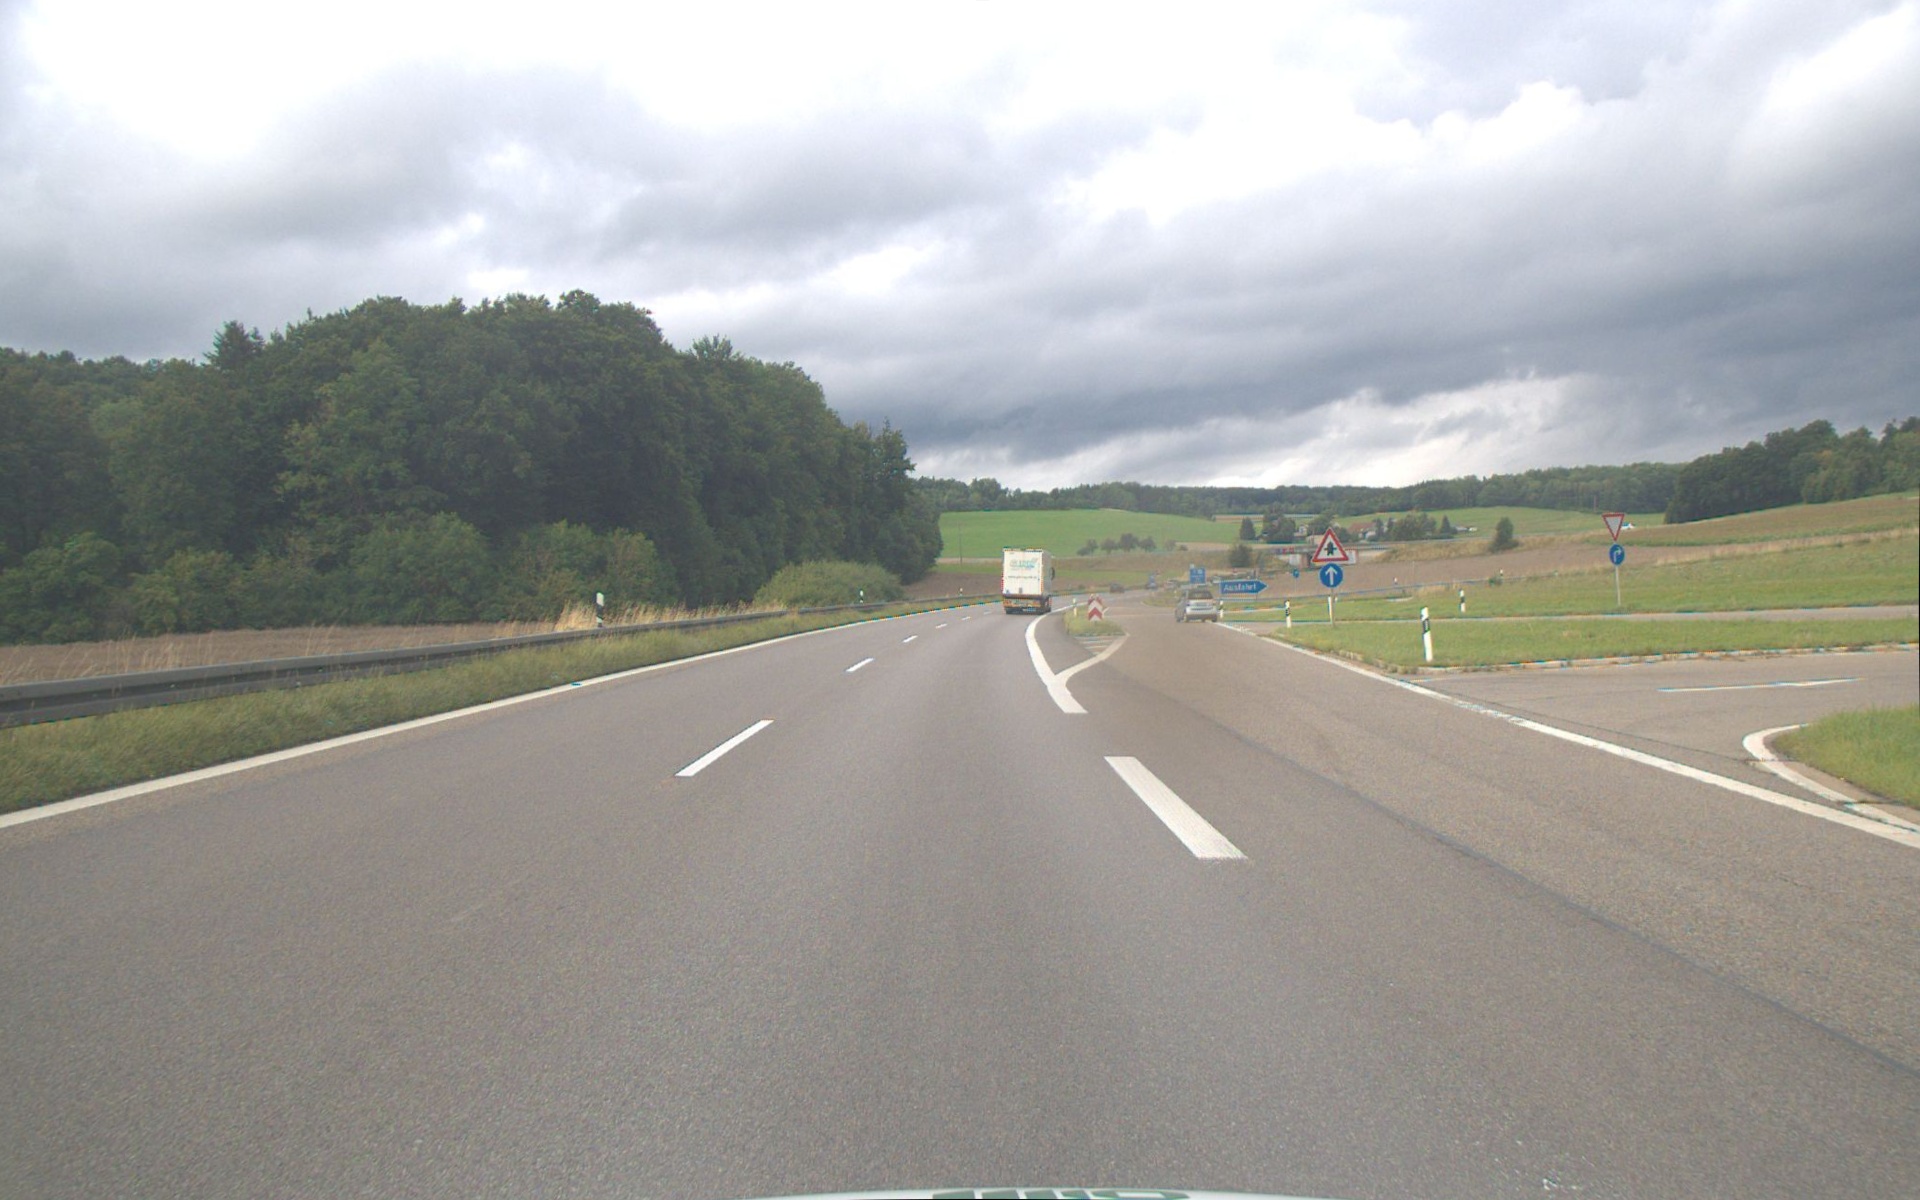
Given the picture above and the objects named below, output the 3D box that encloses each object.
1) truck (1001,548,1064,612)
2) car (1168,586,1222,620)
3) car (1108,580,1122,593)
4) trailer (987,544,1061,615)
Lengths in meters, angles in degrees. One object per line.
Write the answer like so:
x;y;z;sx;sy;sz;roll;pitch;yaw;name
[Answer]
5.102;-1.389;114.474;3.707;4.204;8.271;2;1;7;truck
11.377;0.128;80.403;1.743;1.579;3.996;-1;1;-5;car
23.701;-2.007;252.587;1.862;1.827;4.003;0;-1;9;car
4.335;-1.315;107.631;3.725;4.247;14.819;1;1;6;trailer
